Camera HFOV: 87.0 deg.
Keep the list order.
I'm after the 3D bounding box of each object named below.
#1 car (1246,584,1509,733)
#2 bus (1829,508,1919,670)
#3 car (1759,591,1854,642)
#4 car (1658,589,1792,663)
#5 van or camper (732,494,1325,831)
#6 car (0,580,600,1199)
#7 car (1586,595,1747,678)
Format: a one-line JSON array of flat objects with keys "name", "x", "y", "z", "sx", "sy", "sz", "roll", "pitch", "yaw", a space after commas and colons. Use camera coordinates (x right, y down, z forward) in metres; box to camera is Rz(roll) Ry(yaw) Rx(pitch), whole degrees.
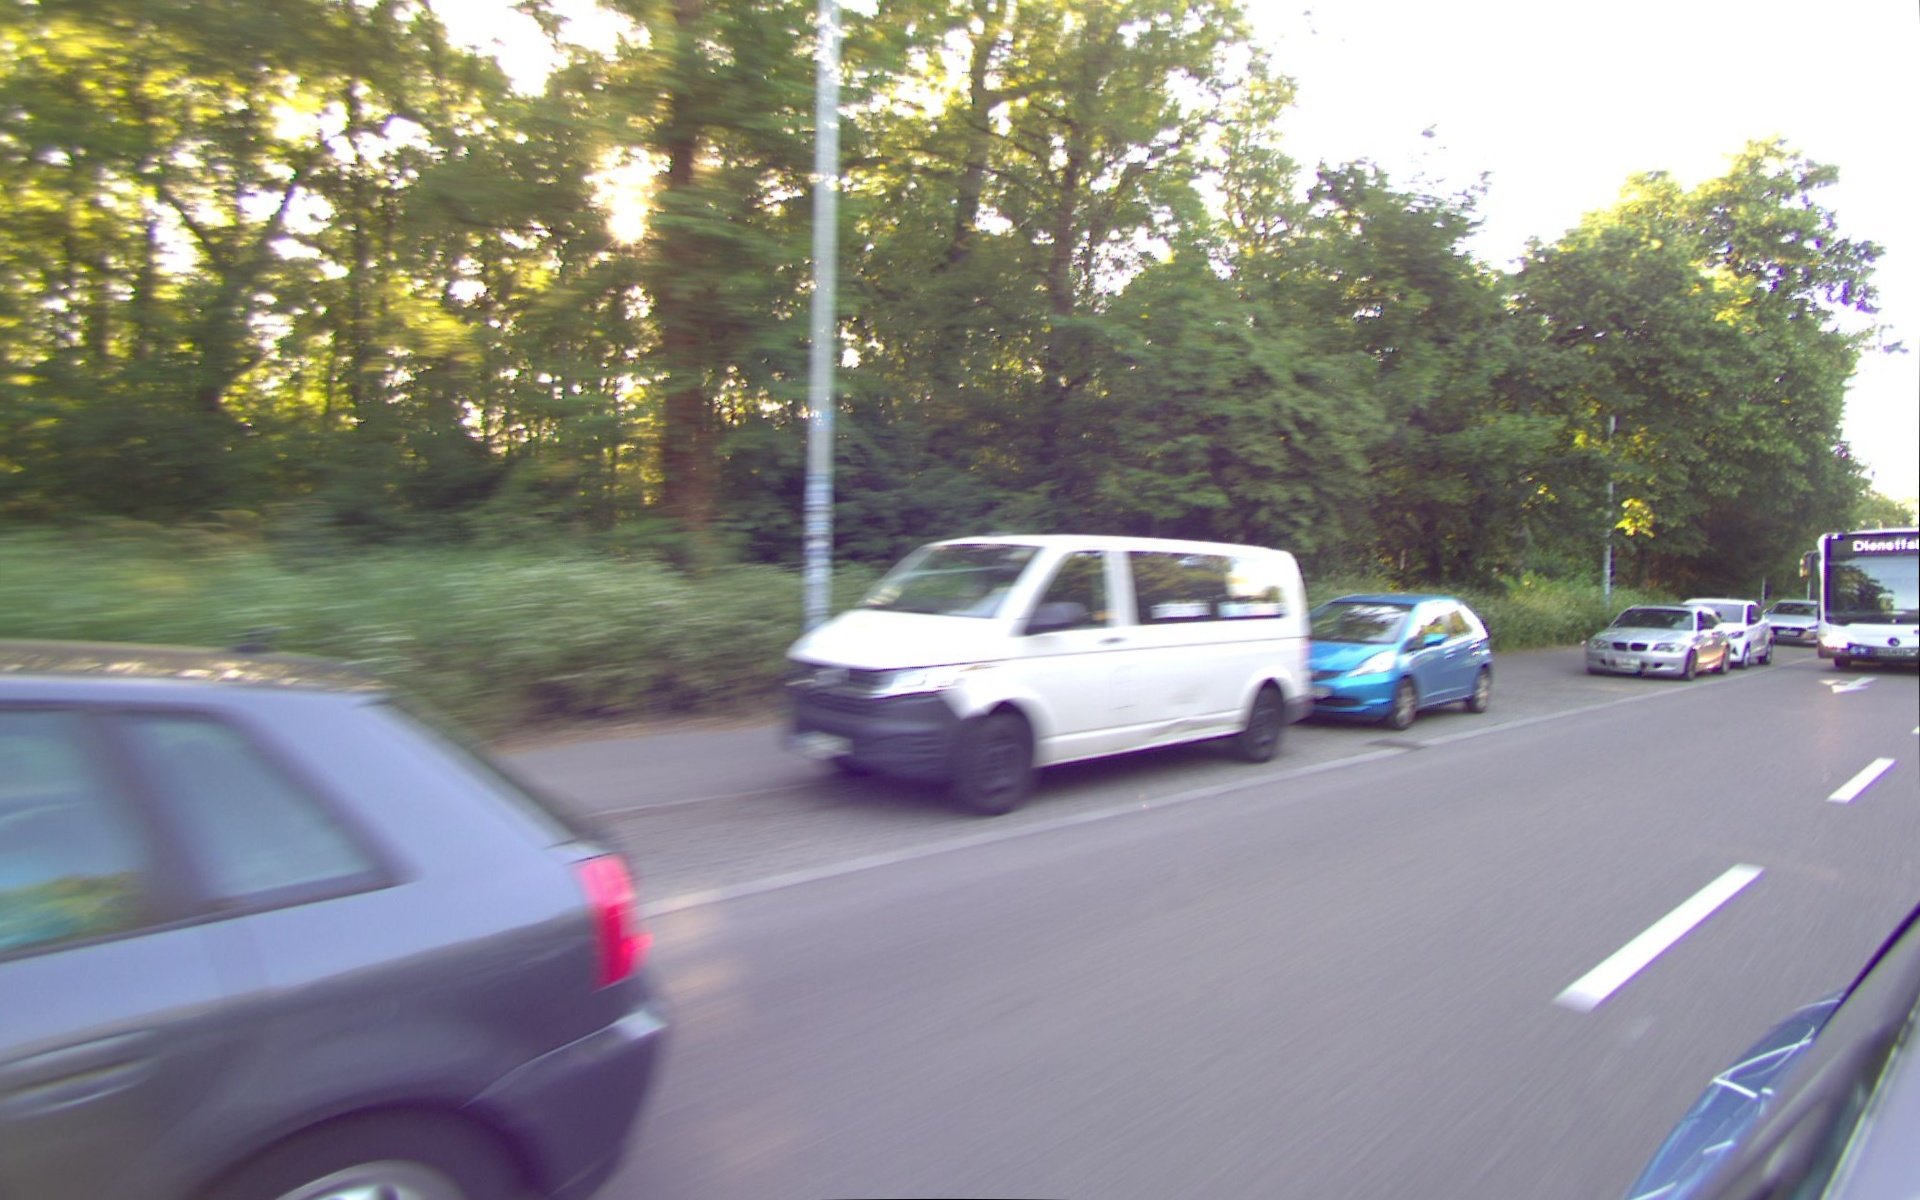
[{"name": "car", "x": 5.283, "y": 0.605, "z": 12.583, "sx": 3.803, "sy": 1.541, "sz": 1.649, "roll": 0, "pitch": 1, "yaw": -44}, {"name": "bus", "x": 23.661, "y": -0.239, "z": 24.634, "sx": 12.076, "sy": 3.262, "sz": 2.706, "roll": 0, "pitch": 1, "yaw": -44}, {"name": "car", "x": 27.724, "y": 0.496, "z": 33.095, "sx": 4.587, "sy": 1.459, "sz": 1.731, "roll": 0, "pitch": 4, "yaw": -42}, {"name": "car", "x": 17.685, "y": 0.533, "z": 23.335, "sx": 4.019, "sy": 1.541, "sz": 1.730, "roll": 0, "pitch": 1, "yaw": -42}, {"name": "van or camper", "x": 0.893, "y": 0.356, "z": 8.456, "sx": 5.250, "sy": 1.995, "sz": 1.834, "roll": 0, "pitch": 0, "yaw": -42}, {"name": "car", "x": -2.763, "y": 0.694, "z": 1.255, "sx": 4.019, "sy": 1.459, "sz": 1.730, "roll": 0, "pitch": 1, "yaw": -42}, {"name": "car", "x": 14.055, "y": 0.651, "z": 20.059, "sx": 4.019, "sy": 1.427, "sz": 1.731, "roll": 0, "pitch": 2, "yaw": -42}]
